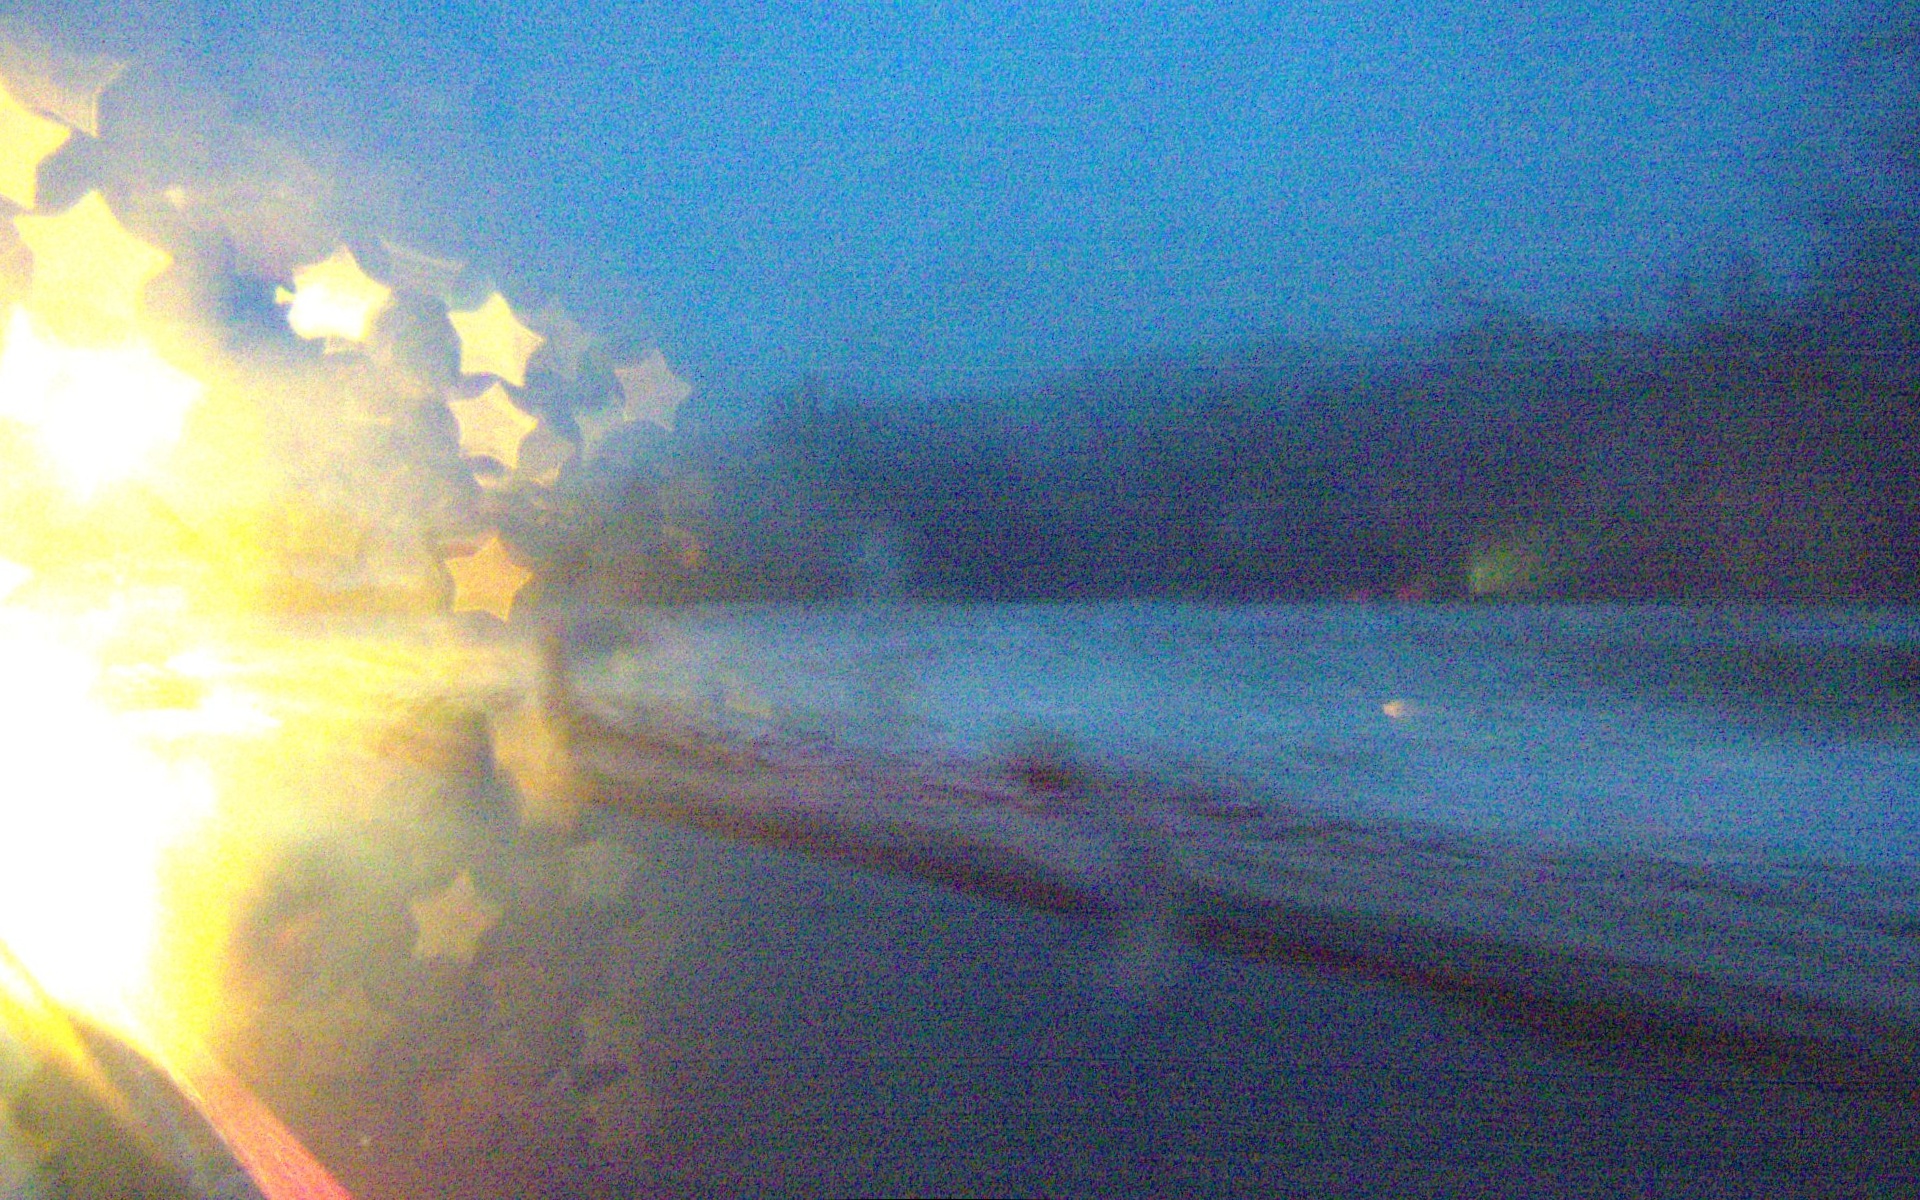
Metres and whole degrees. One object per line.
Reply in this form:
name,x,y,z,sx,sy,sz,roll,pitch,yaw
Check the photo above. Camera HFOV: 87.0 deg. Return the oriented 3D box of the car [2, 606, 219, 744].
car,-11.478,0.859,13.567,1.893,1.486,4.206,-2,1,-44
